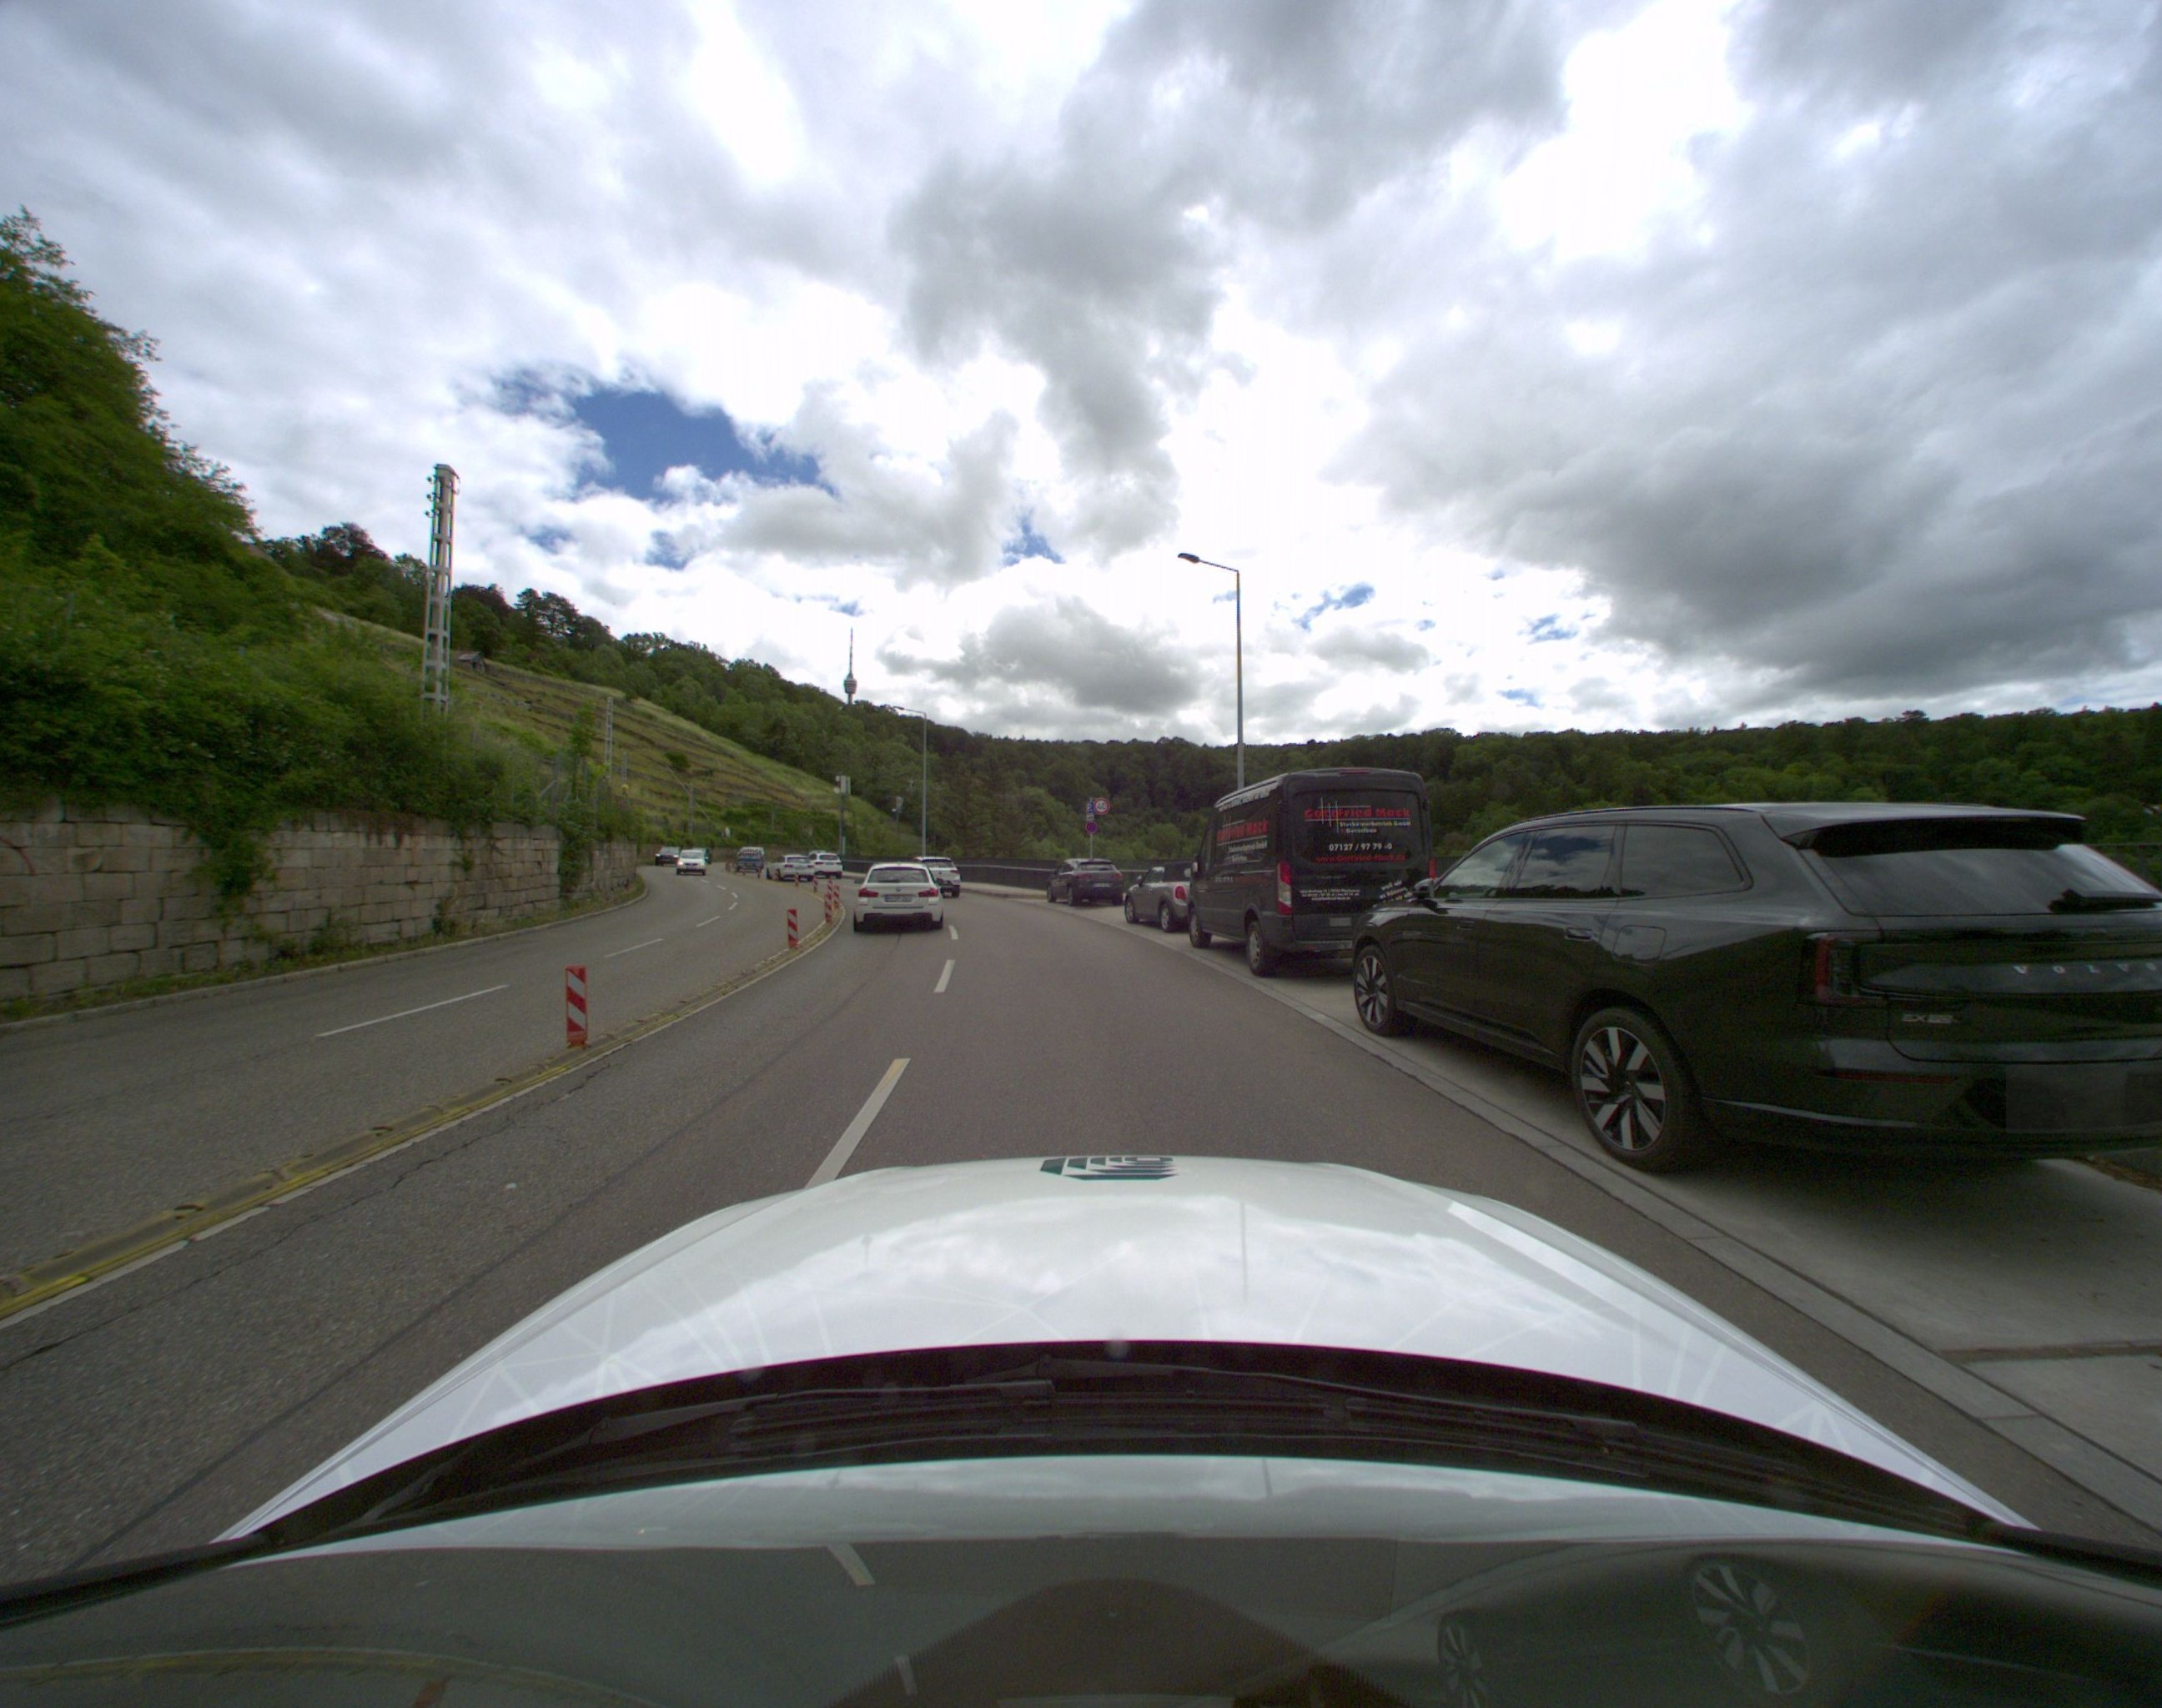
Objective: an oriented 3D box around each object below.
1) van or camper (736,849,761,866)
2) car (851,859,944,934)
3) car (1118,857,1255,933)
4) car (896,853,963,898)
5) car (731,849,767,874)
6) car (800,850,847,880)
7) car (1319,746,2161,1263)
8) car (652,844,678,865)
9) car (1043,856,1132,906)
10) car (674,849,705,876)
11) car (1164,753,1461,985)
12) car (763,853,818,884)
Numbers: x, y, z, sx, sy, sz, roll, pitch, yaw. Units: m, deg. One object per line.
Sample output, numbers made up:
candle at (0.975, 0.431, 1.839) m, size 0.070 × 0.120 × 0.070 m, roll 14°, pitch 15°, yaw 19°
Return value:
van or camper at (-41.136, 0.410, 100.861) m, size 2.152 × 2.016 × 4.937 m, roll -1°, pitch 0°, yaw -15°
car at (-4.280, 0.865, 18.647) m, size 1.831 × 1.459 × 4.462 m, roll -1°, pitch 0°, yaw -15°
car at (2.154, 0.809, 17.771) m, size 1.716 × 1.431 × 3.832 m, roll -1°, pitch 0°, yaw -13°
car at (-6.061, 0.828, 32.215) m, size 1.835 × 1.605 × 3.971 m, roll -2°, pitch 0°, yaw -22°
car at (-25.115, 0.598, 61.537) m, size 2.006 × 1.648 × 3.962 m, roll -3°, pitch -2°, yaw -29°
car at (-16.612, 0.721, 52.371) m, size 2.006 × 1.718 × 4.073 m, roll -3°, pitch -2°, yaw -30°
car at (3.444, 0.538, 5.367) m, size 1.989 × 1.718 × 5.043 m, roll -2°, pitch -1°, yaw -3°
car at (-35.291, 0.087, 69.029) m, size 1.853 × 1.726 × 4.423 m, roll 1°, pitch -1°, yaw -27°
car at (0.120, 0.844, 26.951) m, size 1.878 × 1.543 × 4.067 m, roll 0°, pitch -1°, yaw -16°
car at (-24.316, 0.514, 50.667) m, size 1.710 × 1.548 × 3.968 m, roll 0°, pitch 1°, yaw -25°
car at (2.960, 0.166, 12.154) m, size 2.164 × 2.521 × 5.758 m, roll -3°, pitch 0°, yaw -6°
car at (-16.449, 0.832, 46.002) m, size 2.007 × 1.503 × 4.620 m, roll -2°, pitch -2°, yaw -31°
